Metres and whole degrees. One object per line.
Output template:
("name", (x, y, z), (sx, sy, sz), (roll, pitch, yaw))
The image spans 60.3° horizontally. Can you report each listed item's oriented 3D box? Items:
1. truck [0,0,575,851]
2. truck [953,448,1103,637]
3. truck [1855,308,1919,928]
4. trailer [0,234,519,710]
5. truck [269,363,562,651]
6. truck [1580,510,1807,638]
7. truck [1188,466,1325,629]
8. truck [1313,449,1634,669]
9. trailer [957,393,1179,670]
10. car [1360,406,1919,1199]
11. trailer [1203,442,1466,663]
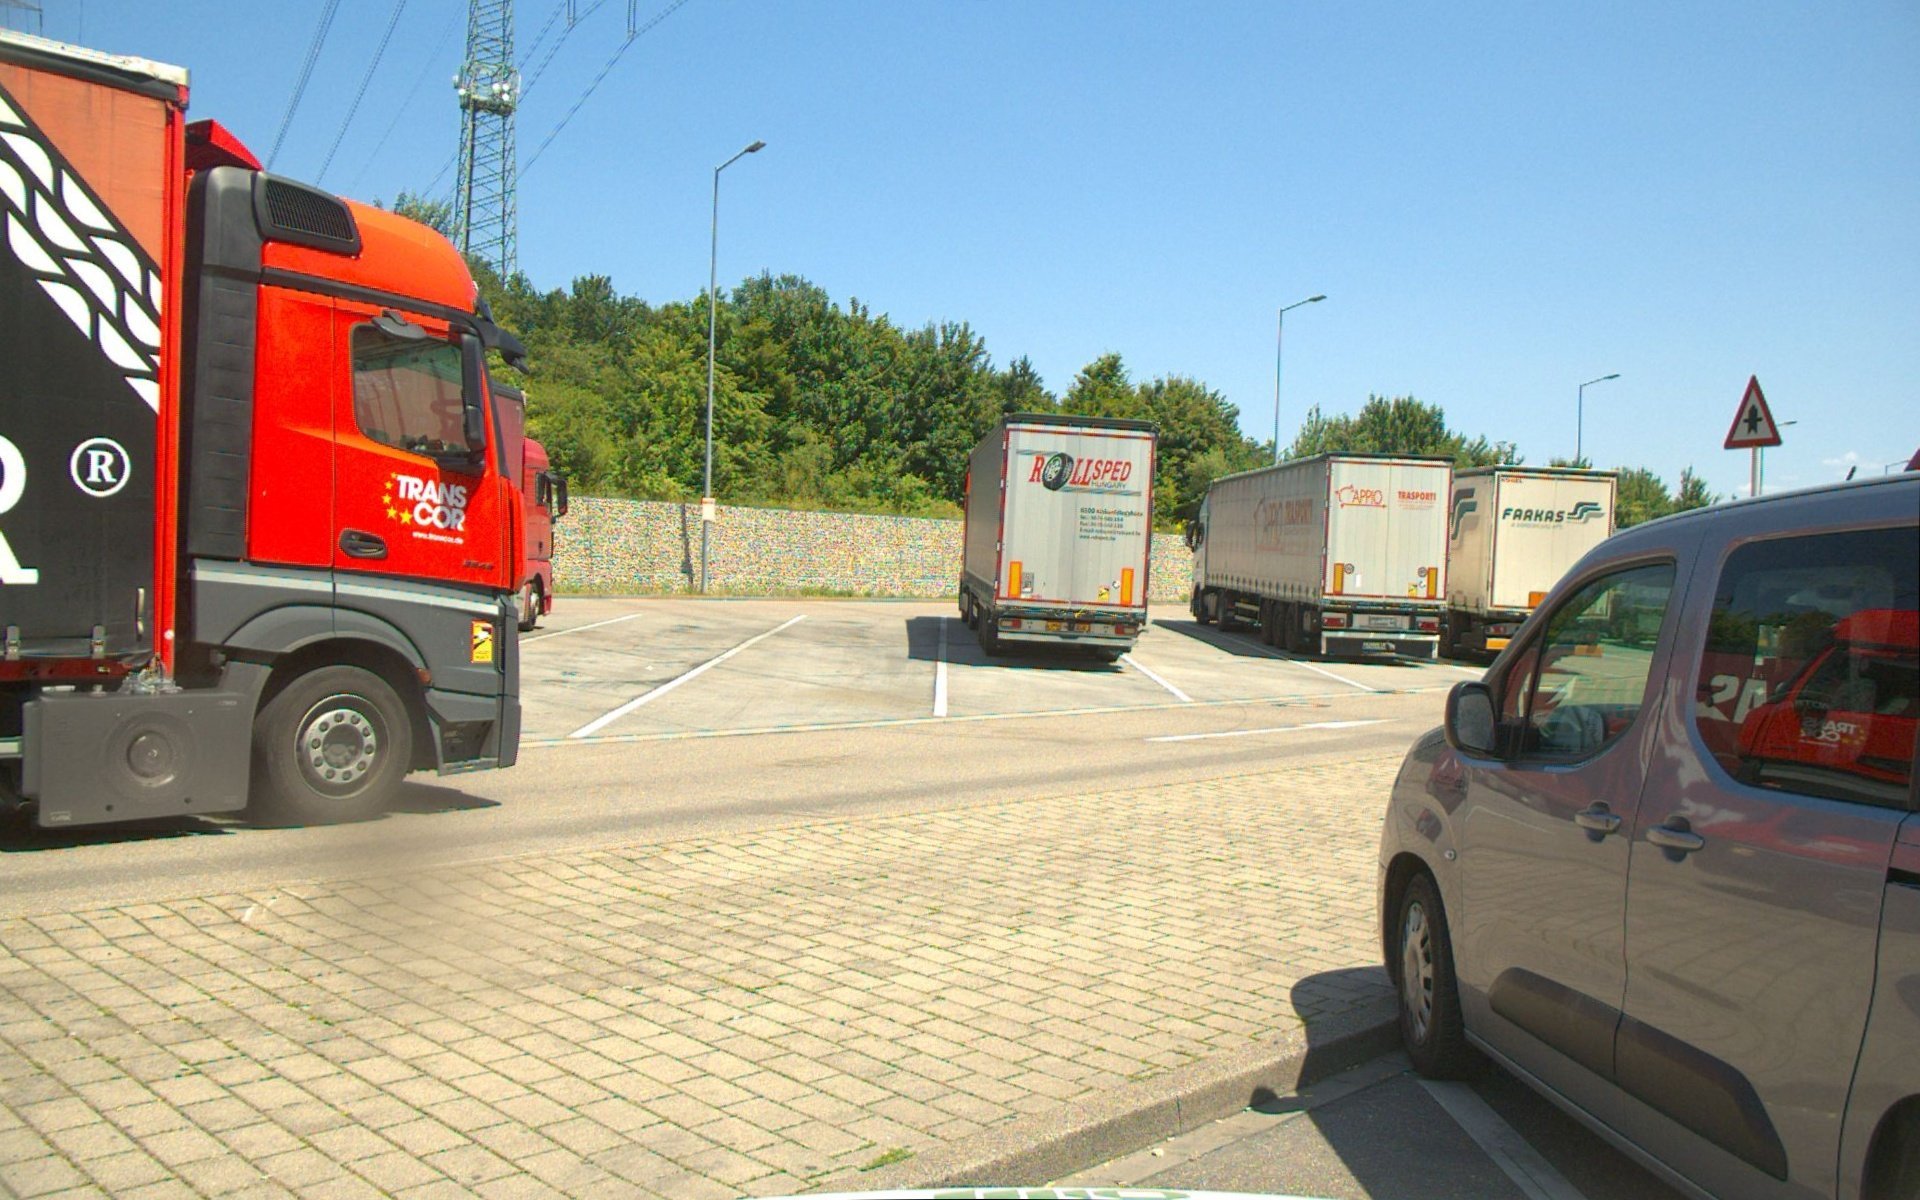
("truck", (-6.911, -0.915, 7.335), (2.646, 4.199, 10.541), (2, 1, 42))
("truck", (1.468, -1.381, 39.451), (2.965, 3.997, 6.845), (2, 2, -2))
("truck", (4.984, 0.129, 4.944), (1.952, 2.669, 5.305), (1, 1, 3))
("trailer", (-8.677, -1.262, 21.063), (2.694, 4.128, 13.284), (1, 1, -1))
("truck", (-8.772, -1.423, 27.545), (2.687, 4.152, 6.828), (1, 1, -1))
("truck", (21.958, -0.808, 50.194), (2.963, 3.497, 8.529), (1, 1, -1))
("truck", (8.073, -1.412, 45.616), (2.701, 4.196, 5.283), (1, 1, -1))
("truck", (11.718, -0.957, 40.002), (2.846, 4.195, 14.525), (3, 1, -1))
("trailer", (1.701, -1.316, 32.685), (3.008, 4.301, 12.805), (2, 2, -2))
("car", (2.438, 0.556, 3.823), (1.790, 1.784, 3.997), (1, 1, -4))
("trailer", (8.207, -1.050, 38.618), (2.818, 4.196, 13.569), (1, 1, -1))
